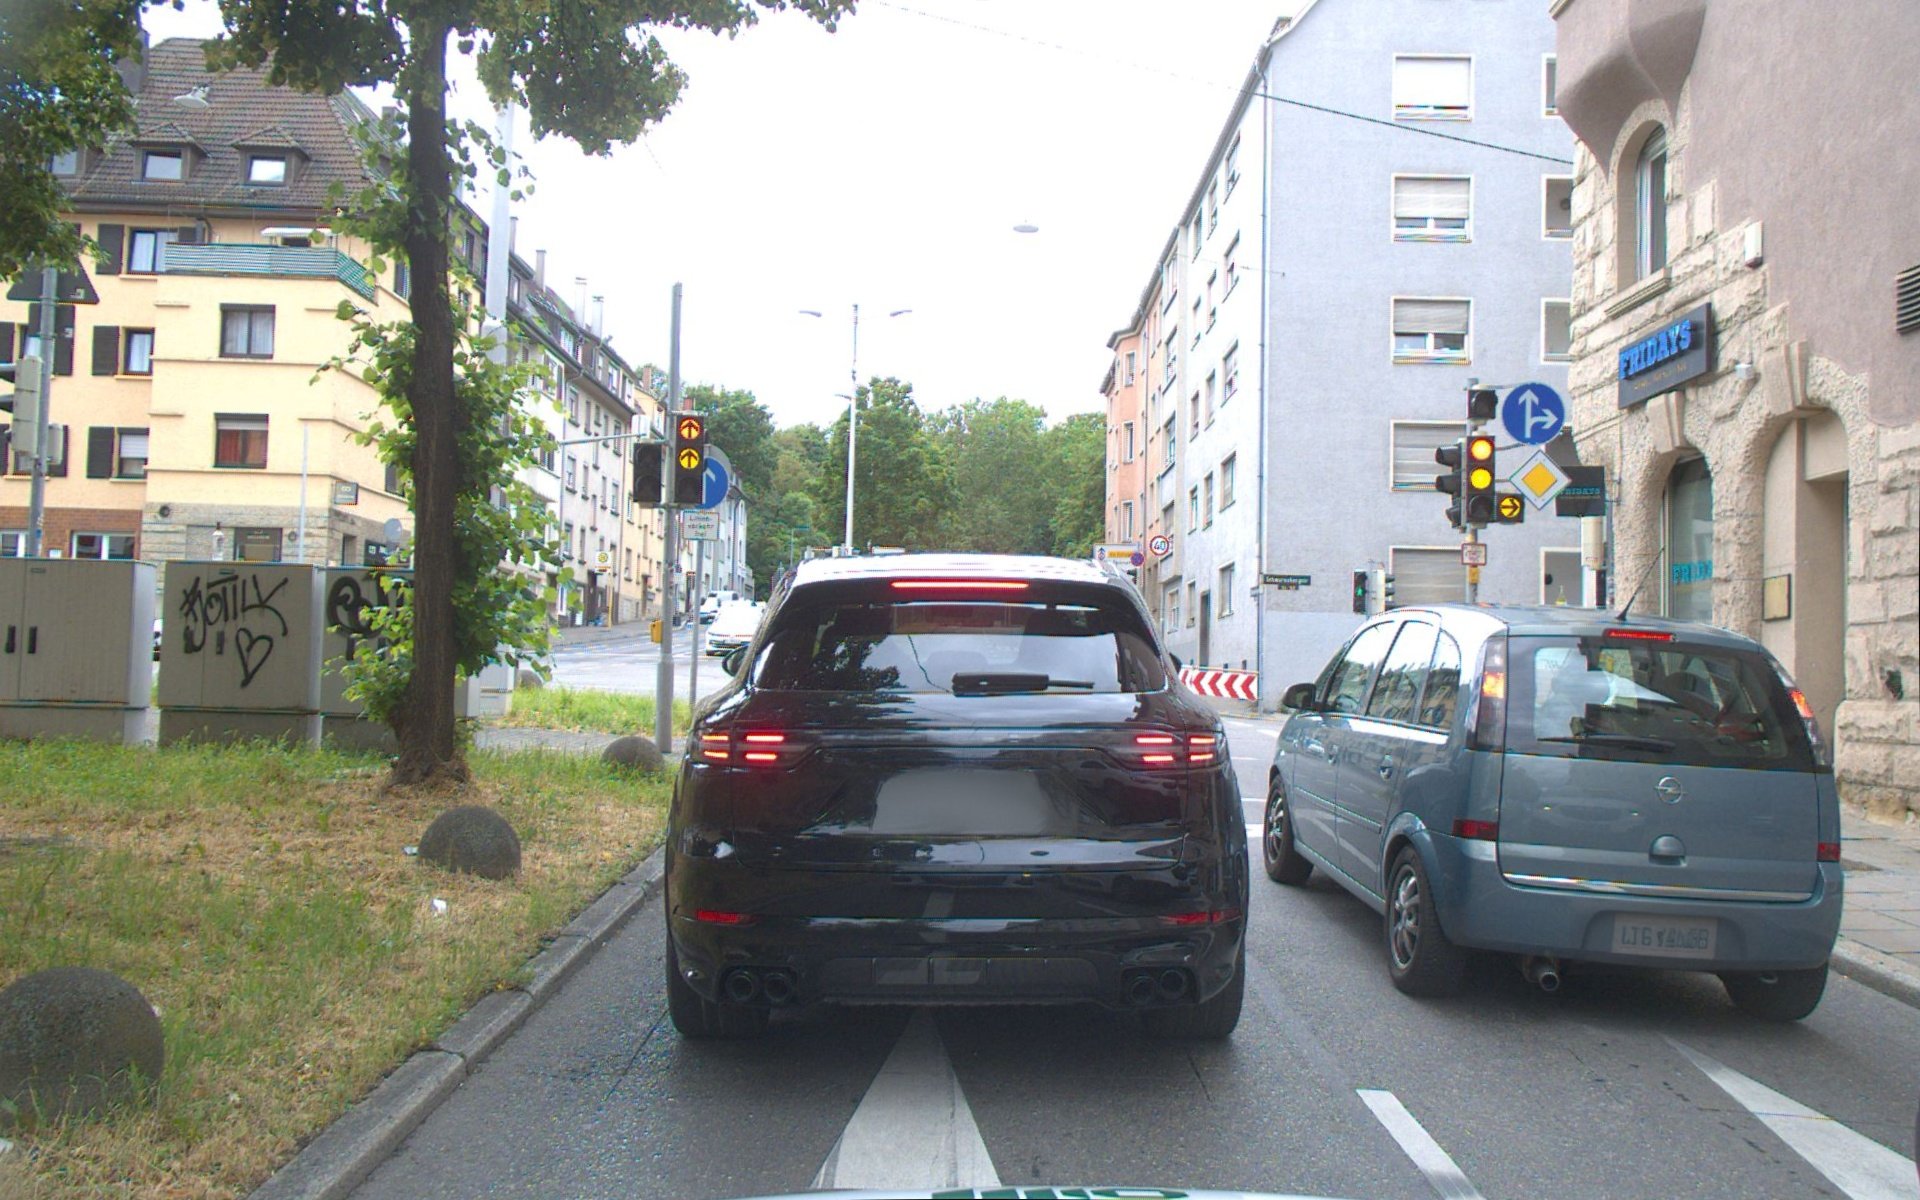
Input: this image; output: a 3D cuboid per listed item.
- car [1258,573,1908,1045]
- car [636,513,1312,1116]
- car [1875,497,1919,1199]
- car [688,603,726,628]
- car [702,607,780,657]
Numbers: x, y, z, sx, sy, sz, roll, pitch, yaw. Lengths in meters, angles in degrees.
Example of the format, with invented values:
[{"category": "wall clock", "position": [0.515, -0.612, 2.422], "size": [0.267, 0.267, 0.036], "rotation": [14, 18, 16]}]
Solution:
[{"category": "car", "position": [2.623, 0.776, 7.908], "size": [1.596, 1.625, 3.668], "rotation": [4, 0, -1]}, {"category": "car", "position": [0.018, 0.618, 6.704], "size": [1.916, 1.704, 3.999], "rotation": [0, 0, -1]}, {"category": "car", "position": [2.924, 0.627, 1.014], "size": [1.936, 1.806, 4.674], "rotation": [4, 0, -2]}, {"category": "car", "position": [-15.054, 0.899, 98.587], "size": [1.703, 1.411, 3.813], "rotation": [1, 0, 0]}, {"category": "car", "position": [-6.630, 0.951, 50.468], "size": [1.824, 1.412, 4.094], "rotation": [1, 0, 0]}]
